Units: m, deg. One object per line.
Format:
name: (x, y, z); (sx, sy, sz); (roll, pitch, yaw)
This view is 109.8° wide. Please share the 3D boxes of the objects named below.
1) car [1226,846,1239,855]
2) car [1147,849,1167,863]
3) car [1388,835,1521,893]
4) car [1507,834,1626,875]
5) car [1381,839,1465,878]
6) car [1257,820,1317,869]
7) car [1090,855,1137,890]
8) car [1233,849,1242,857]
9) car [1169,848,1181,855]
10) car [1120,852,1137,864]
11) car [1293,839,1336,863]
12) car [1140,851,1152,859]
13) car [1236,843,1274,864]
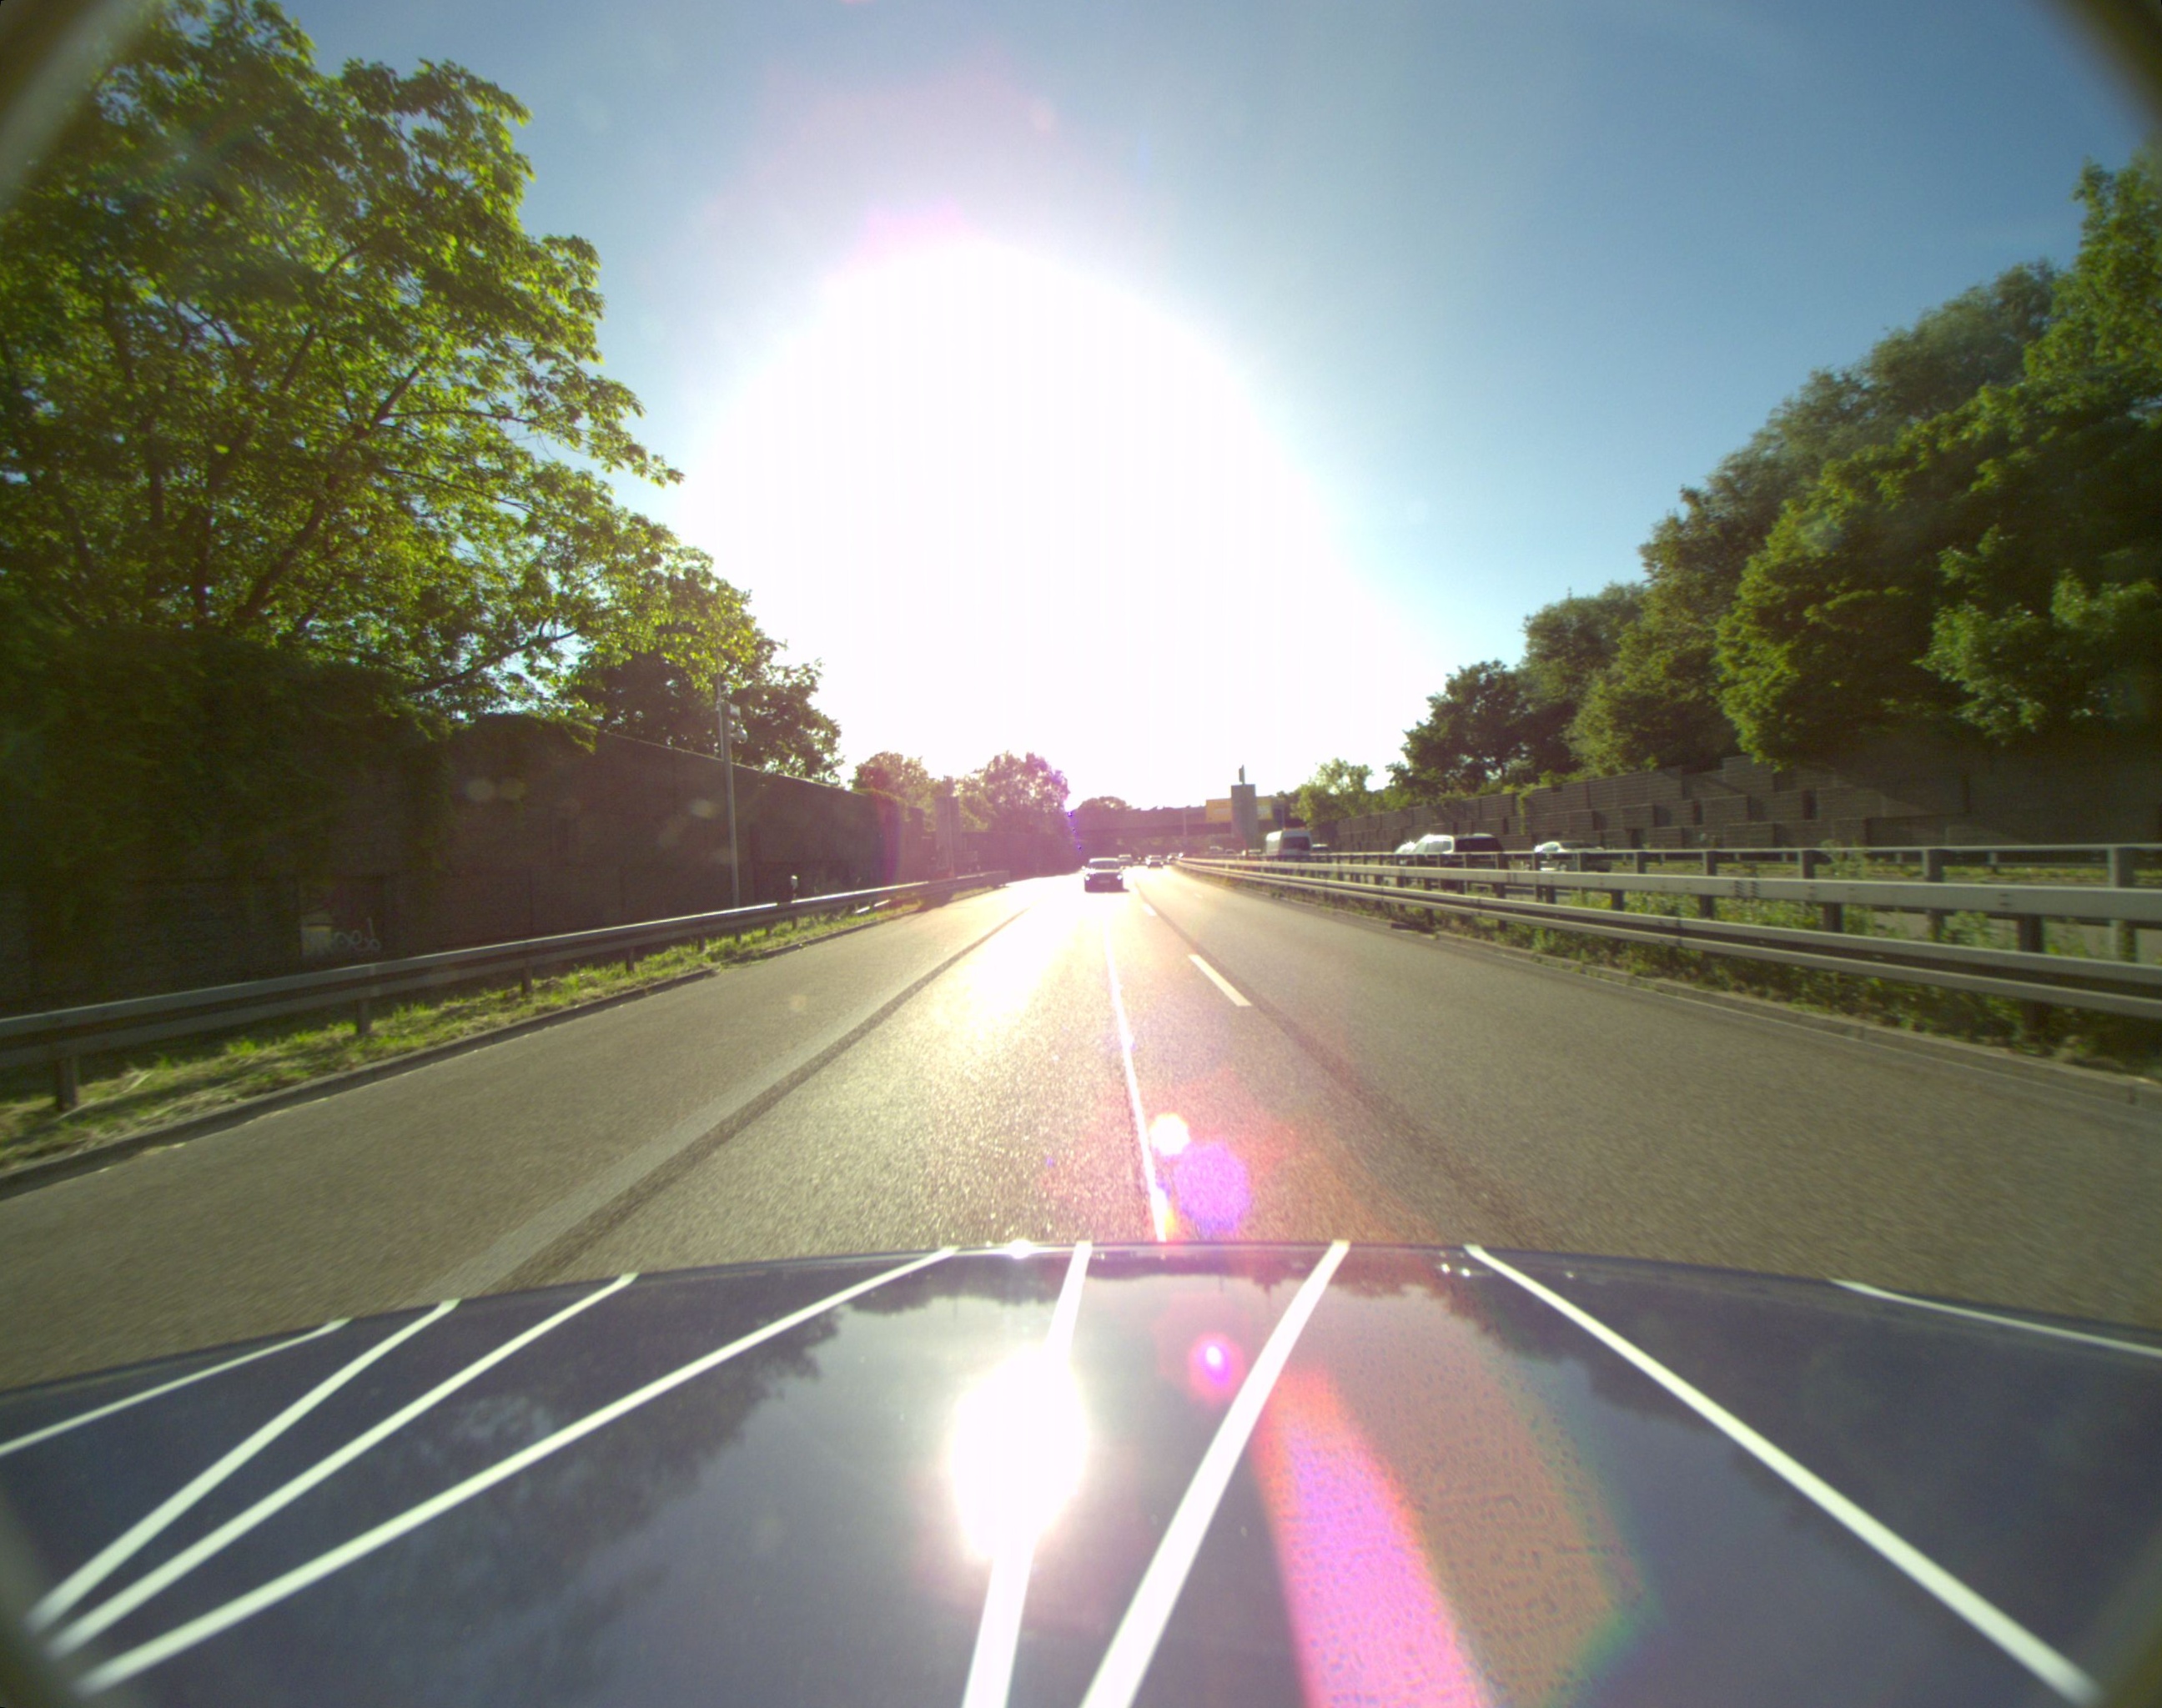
car: (28.359, -0.638, 142.631); (1.901, 1.564, 4.810); (-4, 0, 6)
car: (8.593, 0.238, 86.400); (1.998, 1.406, 4.832); (-3, 0, 4)
car: (11.274, 0.304, 23.324); (1.998, 1.570, 4.248); (-2, -1, 1)
car: (19.036, 0.041, 30.046); (1.999, 1.379, 4.028); (-4, 0, -1)
car: (16.070, 0.214, 35.973); (1.906, 1.610, 4.697); (-4, 0, 2)
car: (12.629, -0.543, 47.095); (2.126, 2.667, 6.590); (-4, 0, 3)
car: (1.452, 0.804, 35.280); (1.998, 1.406, 4.831); (-2, 0, 1)
car: (34.461, -0.280, 167.202); (1.549, 1.564, 4.398); (-4, 0, 6)
car: (18.846, -0.538, 152.742); (1.997, 1.406, 4.835); (-3, 0, 12)
car: (6.247, 0.477, 99.759); (1.998, 1.406, 4.833); (-3, 0, 6)
car: (17.600, -0.221, 57.511); (1.998, 1.586, 4.622); (-4, 0, 3)
car: (12.143, 0.174, 141.760); (1.997, 1.406, 4.833); (-3, 0, 8)
car: (13.752, -0.013, 60.424); (1.998, 1.425, 5.091); (-4, 0, 3)
